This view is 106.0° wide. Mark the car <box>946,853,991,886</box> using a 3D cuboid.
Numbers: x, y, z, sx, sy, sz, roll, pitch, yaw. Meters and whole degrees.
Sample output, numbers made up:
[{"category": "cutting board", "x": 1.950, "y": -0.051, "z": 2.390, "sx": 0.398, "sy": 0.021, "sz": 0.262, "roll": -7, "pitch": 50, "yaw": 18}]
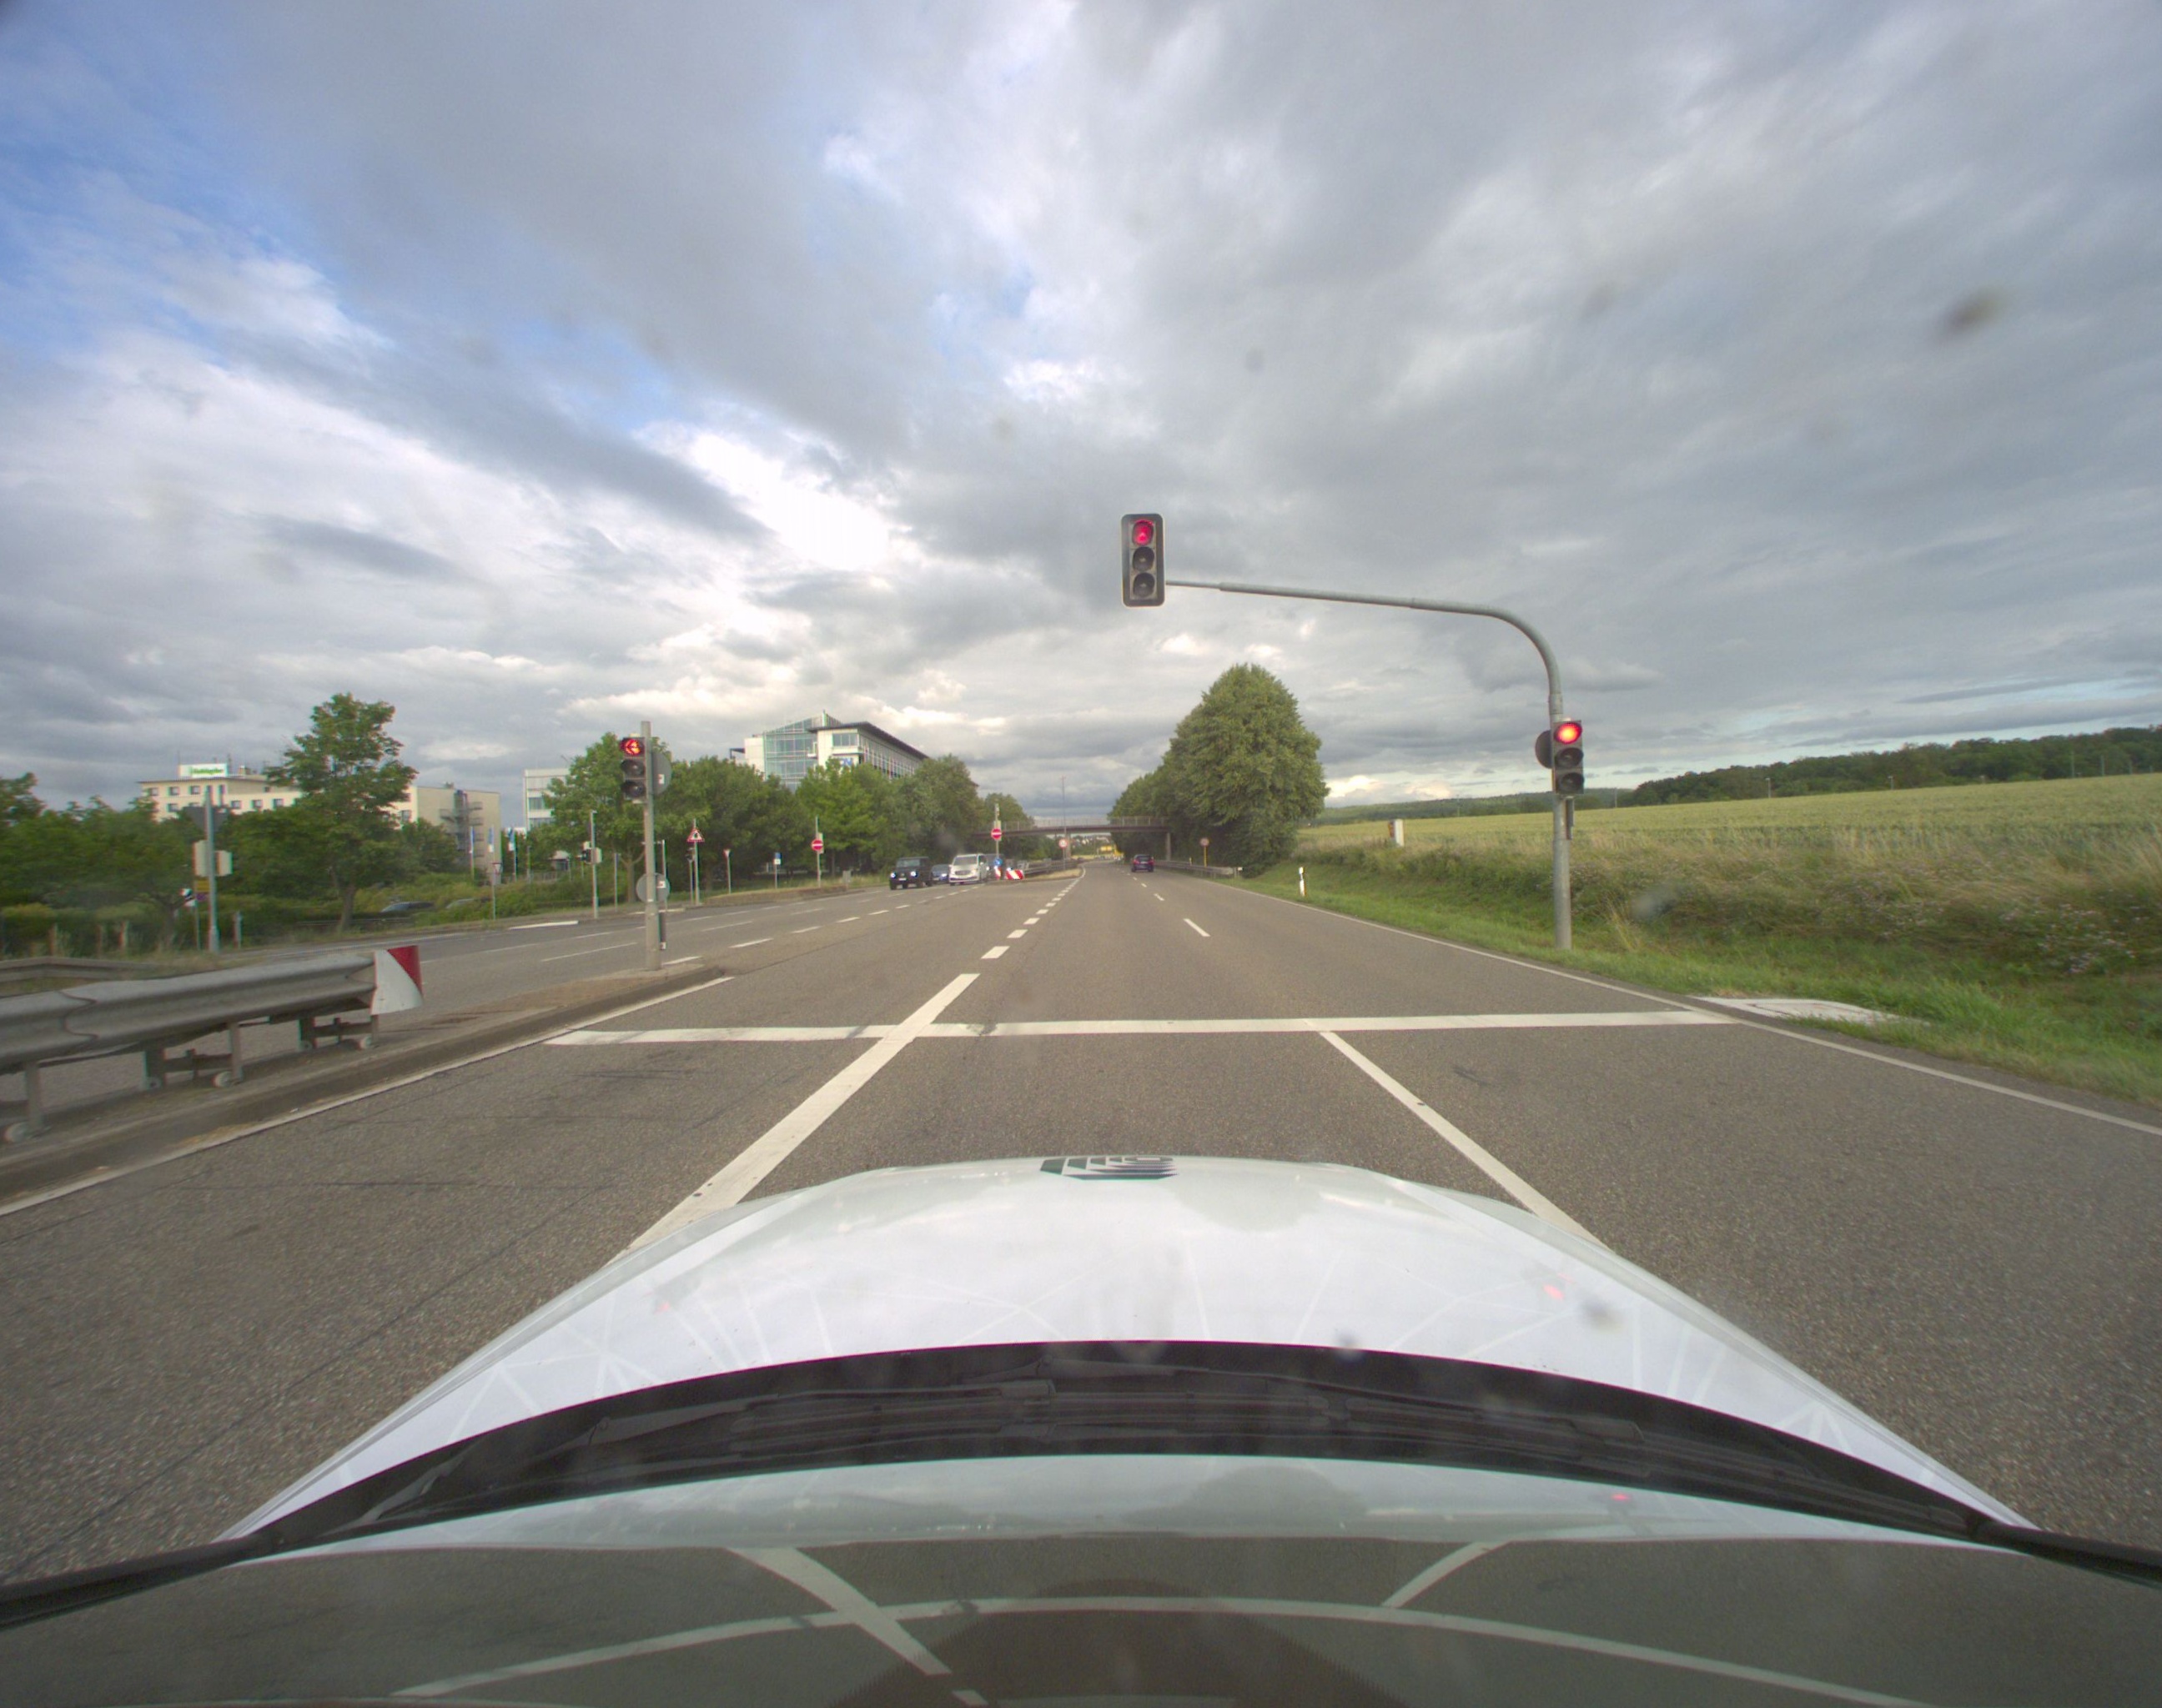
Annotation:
[{"category": "car", "x": -7.080, "y": 0.945, "z": 51.938, "sx": 2.076, "sy": 2.014, "sz": 5.216, "roll": 0, "pitch": -1, "yaw": 0}]

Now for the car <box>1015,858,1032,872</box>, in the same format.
[{"category": "car", "x": -8.424, "y": 1.597, "z": 119.864, "sx": 2.076, "sy": 2.014, "sz": 5.216, "roll": 0, "pitch": -1, "yaw": 0}]

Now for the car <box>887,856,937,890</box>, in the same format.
[{"category": "car", "x": -10.700, "y": 1.173, "z": 51.908, "sx": 2.076, "sy": 2.014, "sz": 5.216, "roll": 0, "pitch": -1, "yaw": 0}]

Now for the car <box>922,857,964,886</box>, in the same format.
[{"category": "car", "x": -10.011, "y": 1.232, "z": 59.397, "sx": 2.076, "sy": 2.014, "sz": 5.216, "roll": 0, "pitch": -1, "yaw": 0}]

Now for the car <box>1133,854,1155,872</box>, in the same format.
[{"category": "car", "x": 5.613, "y": 0.781, "z": 72.769, "sx": 1.871, "sy": 1.552, "sz": 4.004, "roll": 0, "pitch": -1, "yaw": 3}]

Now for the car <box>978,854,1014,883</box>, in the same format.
[{"category": "car", "x": -6.171, "y": 1.048, "z": 59.658, "sx": 2.076, "sy": 2.014, "sz": 5.216, "roll": 0, "pitch": -1, "yaw": 0}]

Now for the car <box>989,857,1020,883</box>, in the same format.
[{"category": "car", "x": -6.262, "y": 1.279, "z": 67.228, "sx": 2.076, "sy": 2.014, "sz": 5.216, "roll": 0, "pitch": -1, "yaw": 0}]
